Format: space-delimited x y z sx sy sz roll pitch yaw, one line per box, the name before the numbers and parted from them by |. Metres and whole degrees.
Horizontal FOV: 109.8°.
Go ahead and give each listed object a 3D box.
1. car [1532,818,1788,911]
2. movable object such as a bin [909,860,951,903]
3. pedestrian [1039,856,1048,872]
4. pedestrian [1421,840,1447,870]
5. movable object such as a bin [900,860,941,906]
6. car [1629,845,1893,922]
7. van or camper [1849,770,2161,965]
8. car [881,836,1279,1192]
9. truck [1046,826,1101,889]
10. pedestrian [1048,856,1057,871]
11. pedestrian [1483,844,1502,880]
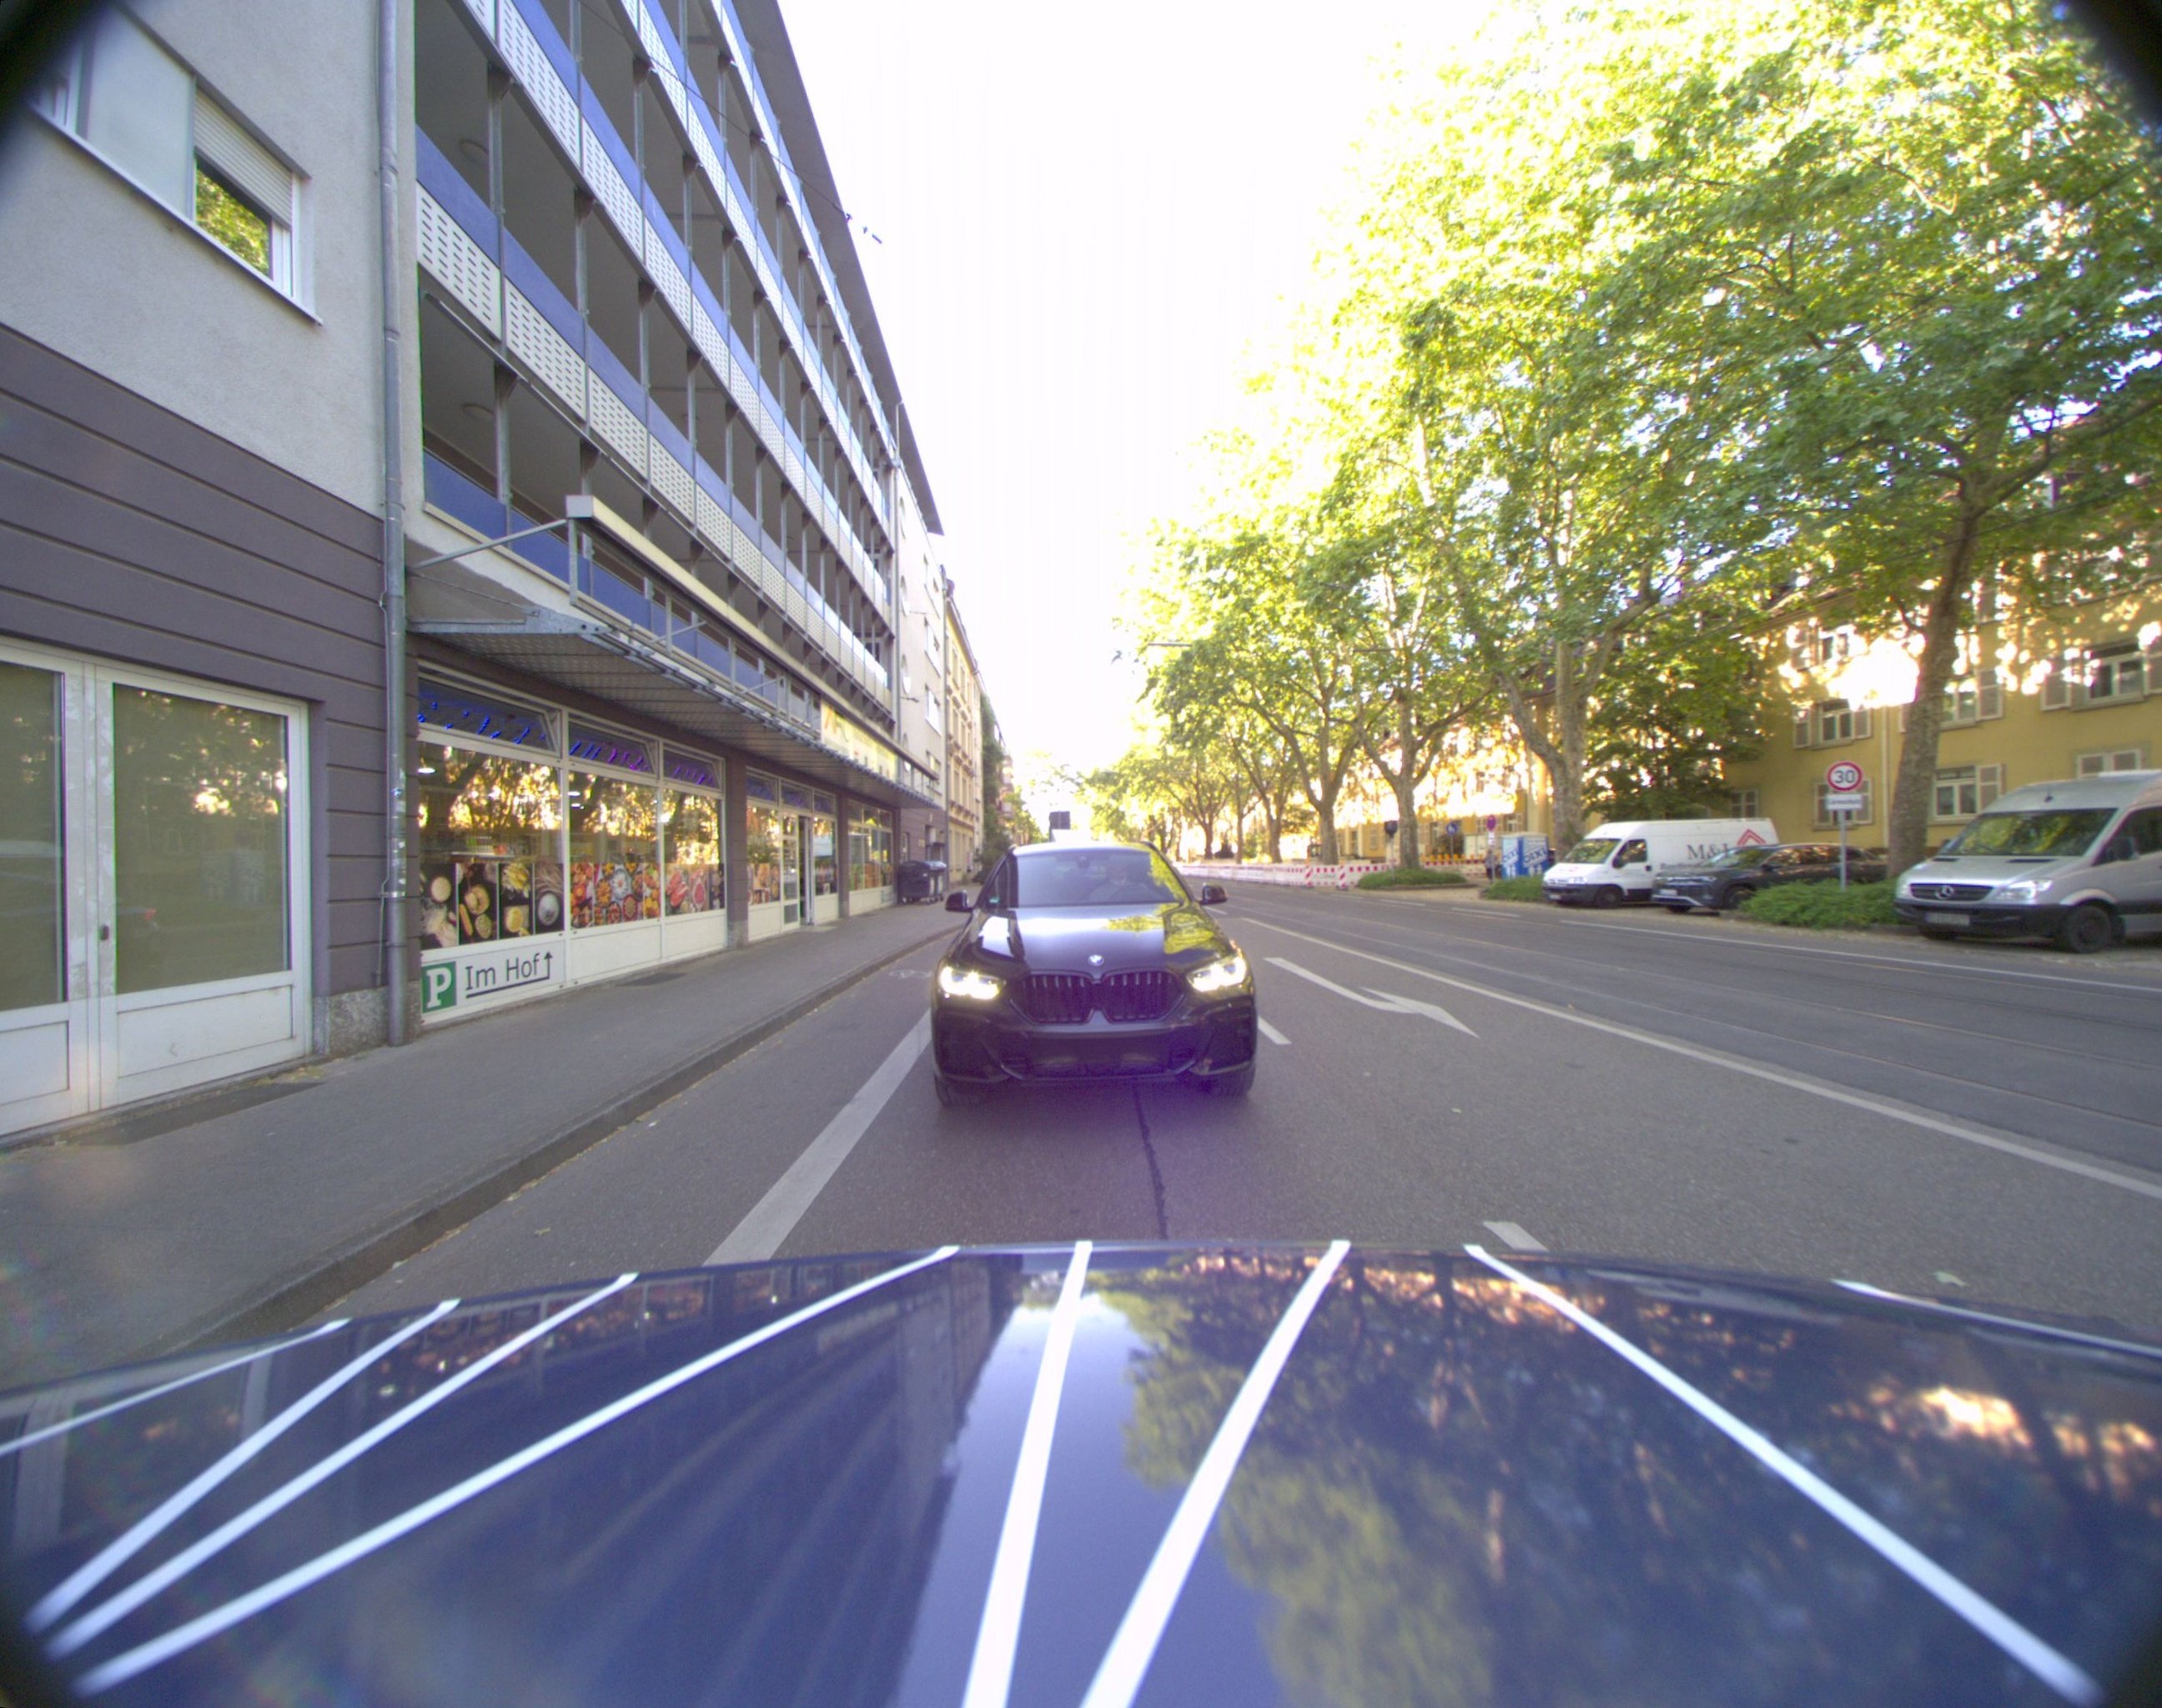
car | 15.851 0.270 21.008 5.612 2.361 2.025 -1 0 -2
movable object such as a bin | -5.288 0.945 26.716 1.122 1.437 1.306 -1 0 4
pedestrian | -4.313 1.167 88.045 0.876 1.728 0.848 -3 1 1
pedestrian | 24.041 0.089 51.796 1.098 2.002 1.235 -1 0 -4
movable object such as a bin | -5.228 0.925 24.821 1.069 1.438 1.296 -1 0 -1
car | 15.940 0.654 17.982 4.575 1.621 1.969 -1 0 -2
van or camper | 16.088 0.125 11.809 6.127 2.661 2.229 -2 0 -2
car | 0.020 0.819 6.067 1.943 1.733 4.475 -2 0 1
truck | -0.576 0.192 43.165 2.385 3.165 8.525 2 0 -5
pedestrian | -3.302 1.116 88.146 0.876 1.728 0.848 -3 1 1
pedestrian | 18.253 0.351 33.685 0.595 1.563 0.718 -1 0 18
